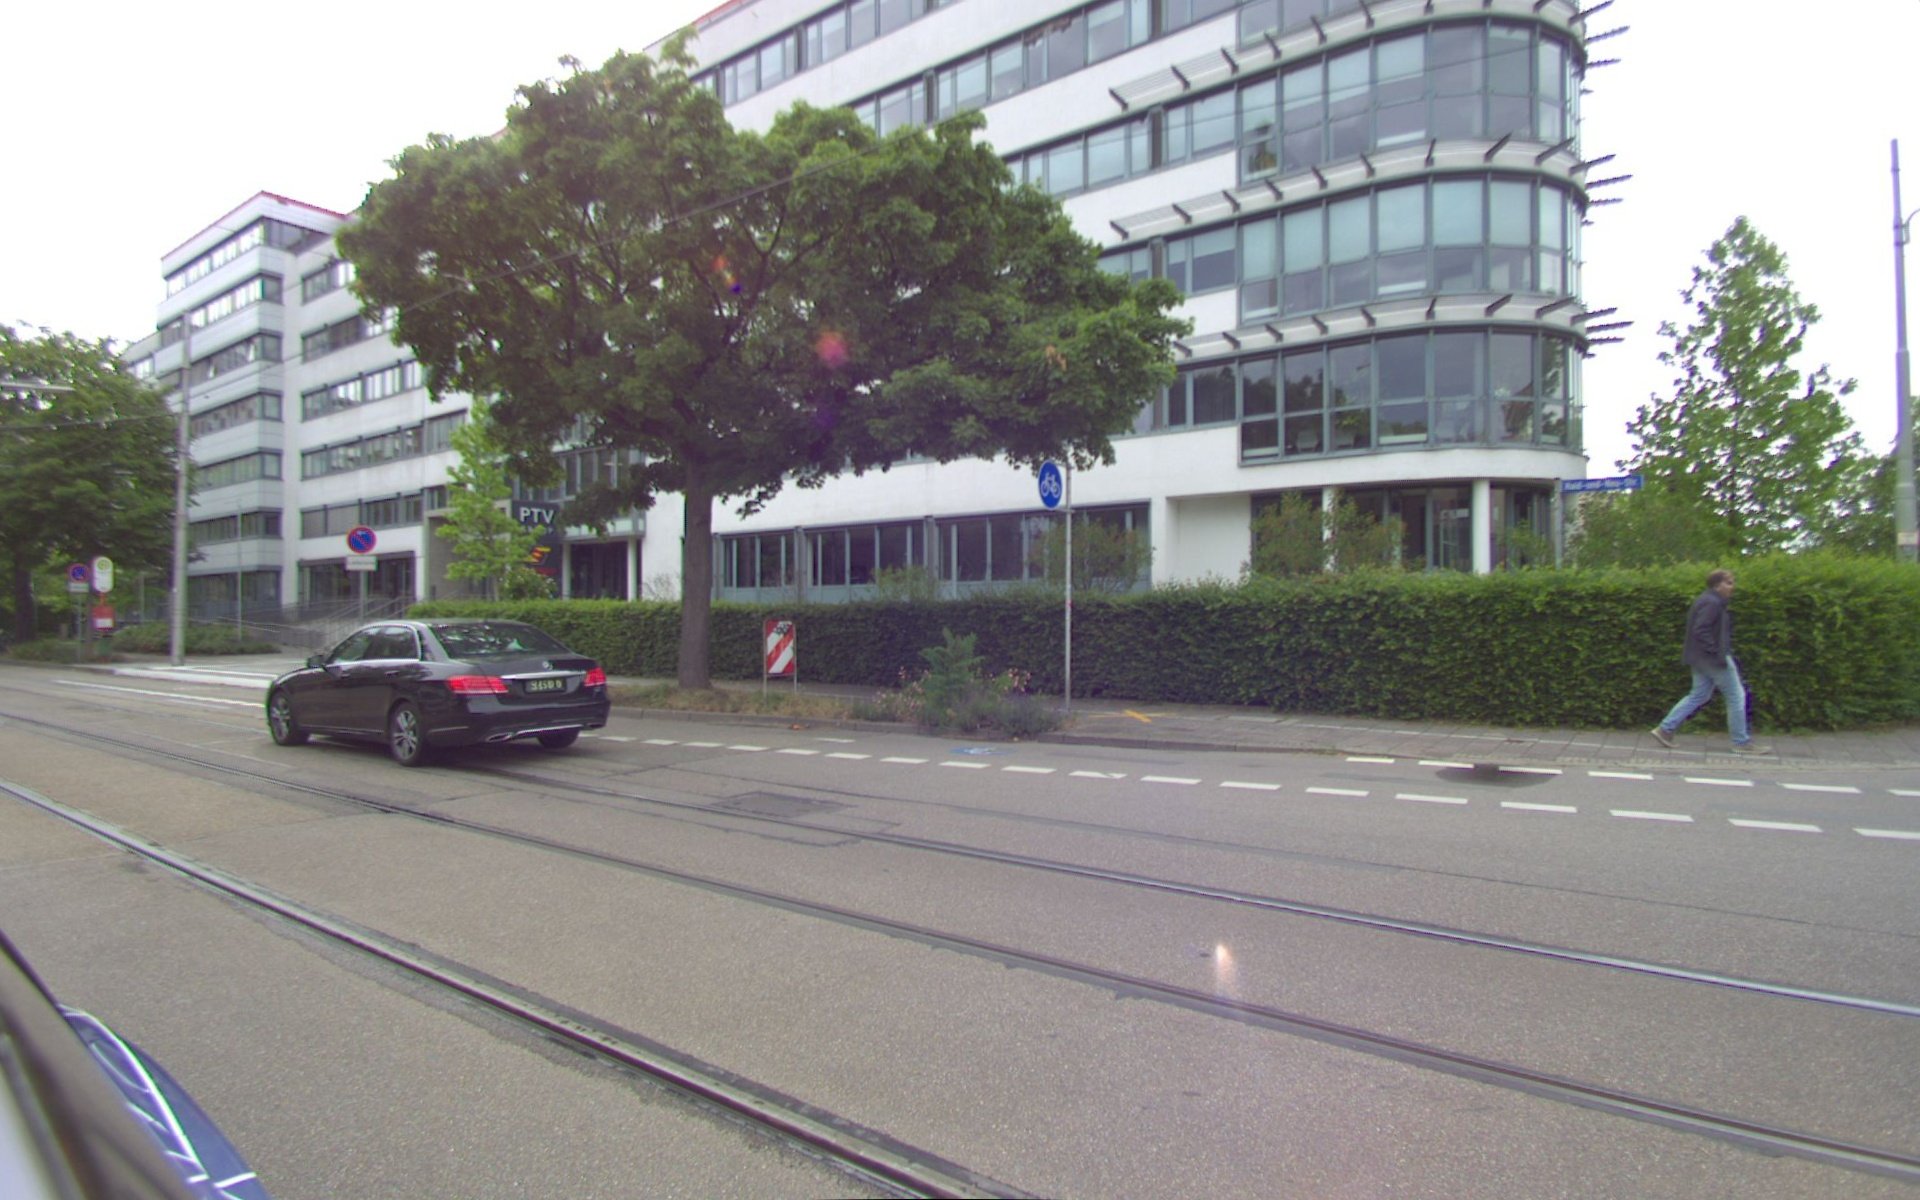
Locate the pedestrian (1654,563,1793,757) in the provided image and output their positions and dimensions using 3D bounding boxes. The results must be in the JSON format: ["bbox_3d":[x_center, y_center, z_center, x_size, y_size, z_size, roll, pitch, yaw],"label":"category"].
[{"bbox_3d":[7.736,0.569,10.259,1.059,1.839,0.795,-1,0,41],"label":"pedestrian"}]

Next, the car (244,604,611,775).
[{"bbox_3d":[-6.047,0.850,11.312,4.469,1.558,1.781,-1,0,35],"label":"car"}]
